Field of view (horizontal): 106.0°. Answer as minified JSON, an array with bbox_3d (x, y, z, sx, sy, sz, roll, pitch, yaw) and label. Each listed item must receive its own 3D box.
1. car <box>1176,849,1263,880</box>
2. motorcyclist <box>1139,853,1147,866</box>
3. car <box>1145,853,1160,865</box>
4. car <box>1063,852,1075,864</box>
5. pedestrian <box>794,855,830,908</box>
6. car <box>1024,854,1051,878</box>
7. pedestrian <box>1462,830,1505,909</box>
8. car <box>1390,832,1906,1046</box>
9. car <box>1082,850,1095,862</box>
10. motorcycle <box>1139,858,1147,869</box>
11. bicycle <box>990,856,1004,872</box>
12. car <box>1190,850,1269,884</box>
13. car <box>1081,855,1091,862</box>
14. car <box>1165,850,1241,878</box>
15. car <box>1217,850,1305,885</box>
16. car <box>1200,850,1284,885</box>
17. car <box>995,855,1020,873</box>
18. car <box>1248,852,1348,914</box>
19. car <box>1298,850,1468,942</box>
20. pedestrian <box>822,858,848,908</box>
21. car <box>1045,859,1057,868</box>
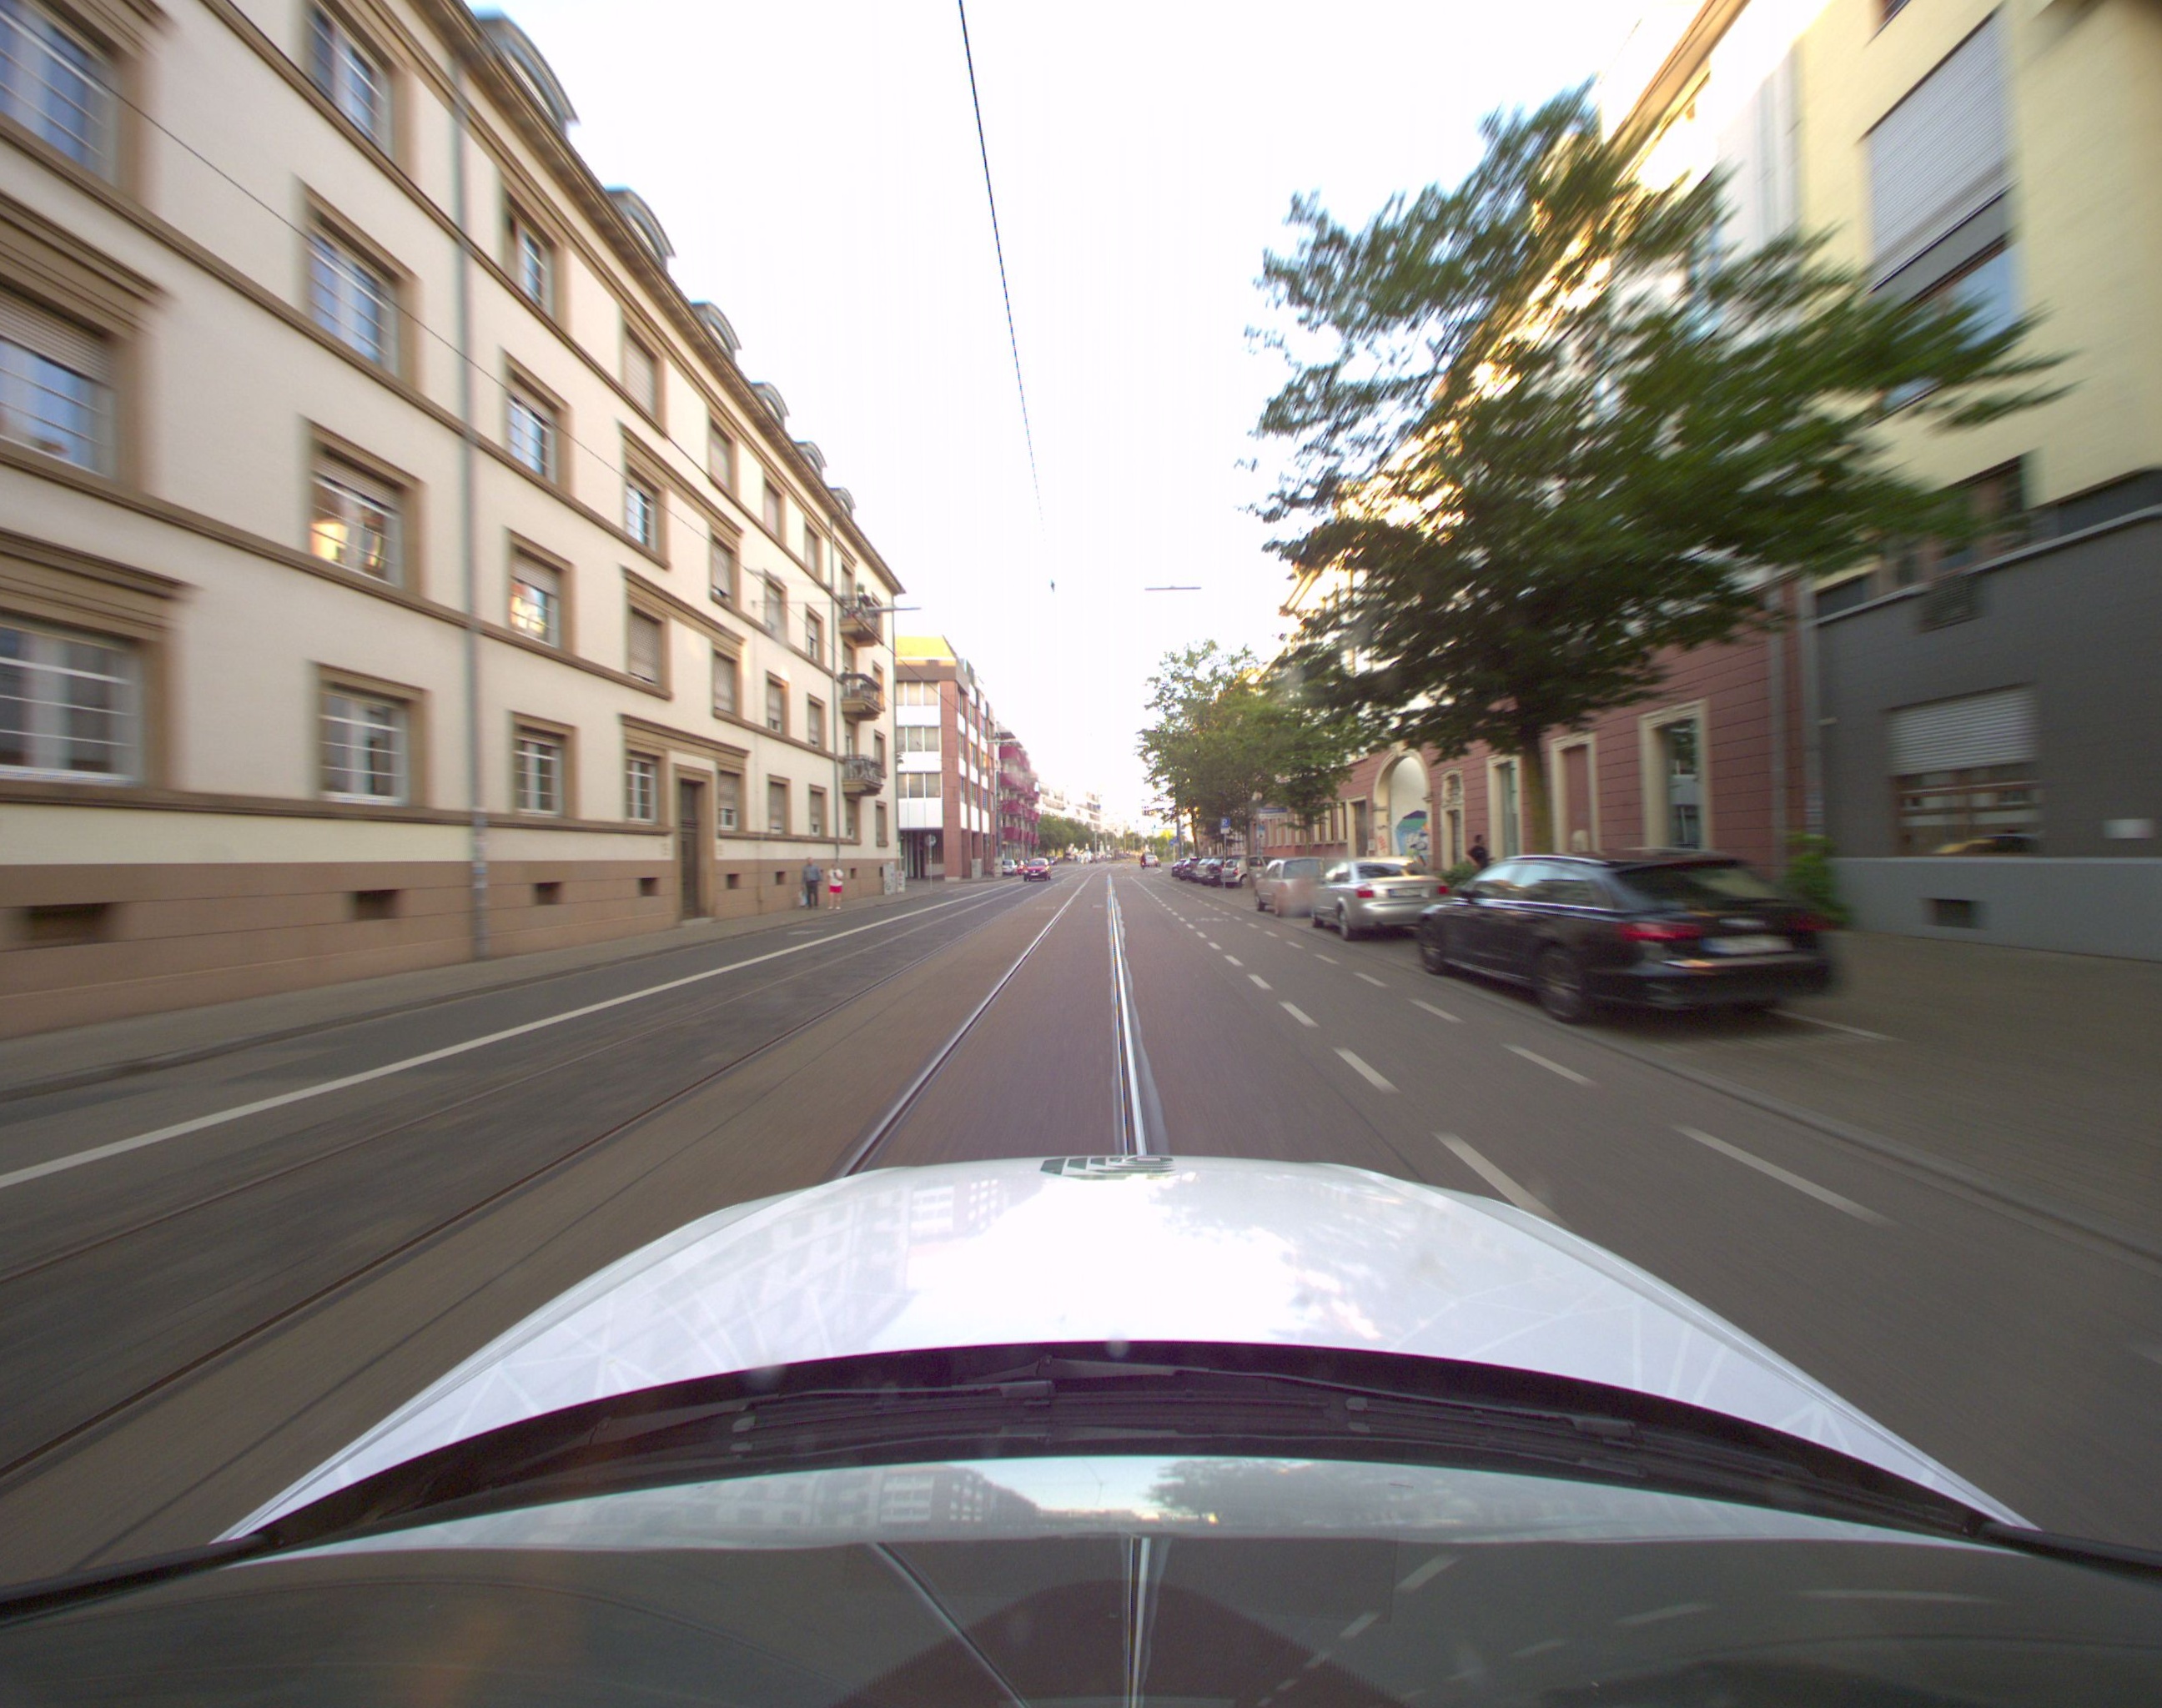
[{"bbox_3d":[7.877,0.574,46.354,4.461,1.516,2.048,-3,0,-22],"label":"car"},{"bbox_3d":[7.072,0.608,92.866,0.824,1.473,1.209,-2,0,5],"label":"motorcyclist"},{"bbox_3d":[9.269,0.604,105.714,1.710,1.555,4.205,-1,0,2],"label":"car"},{"bbox_3d":[-3.188,0.953,220.534,2.188,3.152,6.159,-2,0,10],"label":"car"},{"bbox_3d":[-8.901,0.892,26.980,0.793,1.701,0.981,-2,0,-1],"label":"pedestrian"},{"bbox_3d":[-3.011,0.819,57.206,1.554,1.558,3.755,-3,0,1],"label":"car"},{"bbox_3d":[9.424,0.364,19.101,0.678,1.816,0.600,-1,0,2],"label":"pedestrian"},{"bbox_3d":[5.106,0.634,8.493,1.986,1.489,5.038,-3,0,2],"label":"car"},{"bbox_3d":[1.791,0.416,184.111,2.449,2.482,5.817,-2,0,5],"label":"car"},{"bbox_3d":[7.075,1.094,92.732,0.824,1.240,2.494,-2,0,5],"label":"motorcycle"},{"bbox_3d":[-7.280,0.848,70.959,0.605,1.377,2.264,-2,0,10],"label":"bicycle"},{"bbox_3d":[7.511,0.634,41.254,3.571,1.516,1.730,-3,0,-24],"label":"car"},{"bbox_3d":[1.123,0.926,178.196,1.673,1.439,4.136,-2,0,9],"label":"car"},{"bbox_3d":[7.853,0.641,52.435,4.625,1.457,1.697,-3,0,-23],"label":"car"},{"bbox_3d":[8.030,0.610,36.375,3.491,1.429,1.611,-2,-2,-18],"label":"car"},{"bbox_3d":[7.601,0.621,38.480,3.571,1.429,1.656,-3,0,-24],"label":"car"},{"bbox_3d":[-6.773,0.900,75.452,1.710,1.555,4.206,0,0,2],"label":"car"},{"bbox_3d":[5.523,0.699,21.154,1.613,1.381,3.777,-4,0,2],"label":"car"},{"bbox_3d":[5.464,0.680,15.403,1.772,1.381,4.697,-4,0,5],"label":"car"},{"bbox_3d":[-8.153,0.942,26.983,0.589,1.609,0.811,-2,0,-1],"label":"pedestrian"},{"bbox_3d":[-6.235,1.969,168.928,1.672,1.700,4.252,-2,0,11],"label":"car"}]
